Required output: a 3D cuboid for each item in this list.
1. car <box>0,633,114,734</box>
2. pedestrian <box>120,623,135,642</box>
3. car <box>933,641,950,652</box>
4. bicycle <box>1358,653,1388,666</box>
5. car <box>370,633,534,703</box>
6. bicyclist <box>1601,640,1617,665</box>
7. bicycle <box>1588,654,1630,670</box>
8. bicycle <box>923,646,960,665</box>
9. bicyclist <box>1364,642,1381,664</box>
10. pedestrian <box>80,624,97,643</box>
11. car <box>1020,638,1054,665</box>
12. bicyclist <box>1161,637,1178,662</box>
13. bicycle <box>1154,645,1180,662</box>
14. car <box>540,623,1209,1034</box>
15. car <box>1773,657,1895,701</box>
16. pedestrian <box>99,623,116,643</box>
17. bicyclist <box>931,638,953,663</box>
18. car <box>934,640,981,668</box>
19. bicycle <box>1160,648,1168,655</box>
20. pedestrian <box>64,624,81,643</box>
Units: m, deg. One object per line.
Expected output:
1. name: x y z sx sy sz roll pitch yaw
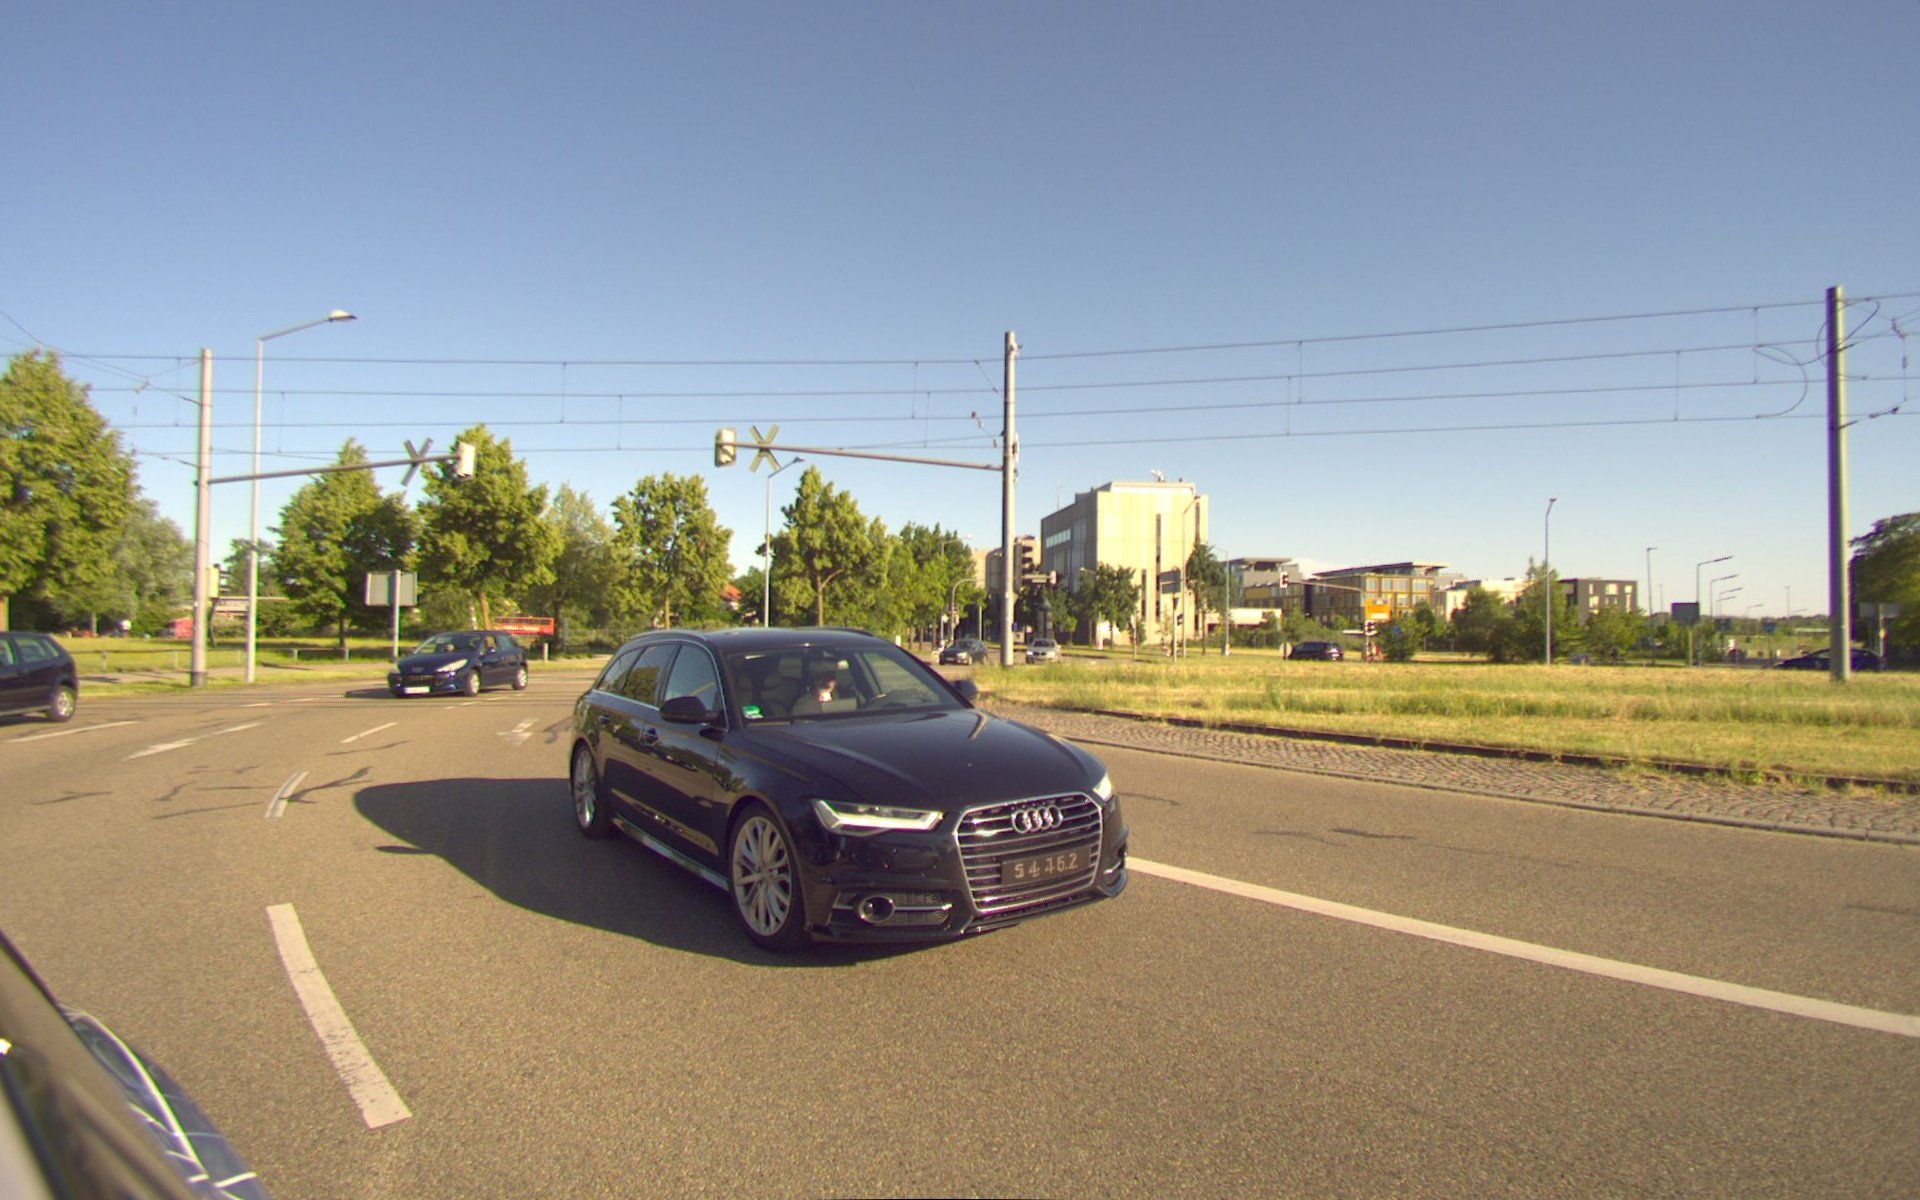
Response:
1. car: -14.835 1.224 15.005 1.611 1.479 4.557 1 -2 -13
2. pedestrian: -63.524 2.487 77.256 0.650 1.451 0.797 2 -3 -24
3. car: -2.707 6.728 147.457 1.927 1.627 3.925 0 -2 -8
4. bicycle: 29.346 4.213 71.896 1.862 0.859 0.617 0 -3 -1
5. car: -11.652 1.534 23.534 1.734 1.465 3.997 0 -3 2
6. bicyclist: 42.190 3.384 65.778 0.834 1.592 0.654 -1 -3 38
7. bicycle: 42.191 4.002 65.783 2.259 0.995 0.654 -1 -3 38
8. bicycle: -1.188 3.559 65.181 2.179 1.164 0.879 3 -2 -31
9. bicyclist: 29.297 3.745 71.912 0.912 1.529 0.617 0 -3 -2
10. pedestrian: -65.466 2.511 76.026 0.675 1.451 0.797 2 -3 -24
11. car: 4.528 2.975 59.369 1.913 1.390 4.530 -1 -1 5
12. bicyclist: 14.454 3.402 69.912 0.927 1.676 0.706 0 -1 -17
13. bicycle: 14.269 3.672 69.836 1.627 1.137 0.706 0 -1 -17
14. car: -1.032 0.884 6.176 1.768 1.454 5.029 1 -2 -35
15. car: 38.844 3.470 45.021 1.748 1.799 3.922 2 -3 -43
16. pedestrian: -64.576 2.501 76.639 0.760 1.451 0.797 2 -3 -24
17. bicyclist: -1.163 3.227 65.208 1.069 1.573 0.879 3 -2 -31
18. car: -0.083 2.972 56.225 1.708 1.390 4.051 -1 -1 13
19. bicycle: 24.085 6.090 119.427 0.484 0.859 1.890 1 -3 -4
20. pedestrian: -66.550 2.531 75.894 0.675 1.451 0.797 2 -3 -24
